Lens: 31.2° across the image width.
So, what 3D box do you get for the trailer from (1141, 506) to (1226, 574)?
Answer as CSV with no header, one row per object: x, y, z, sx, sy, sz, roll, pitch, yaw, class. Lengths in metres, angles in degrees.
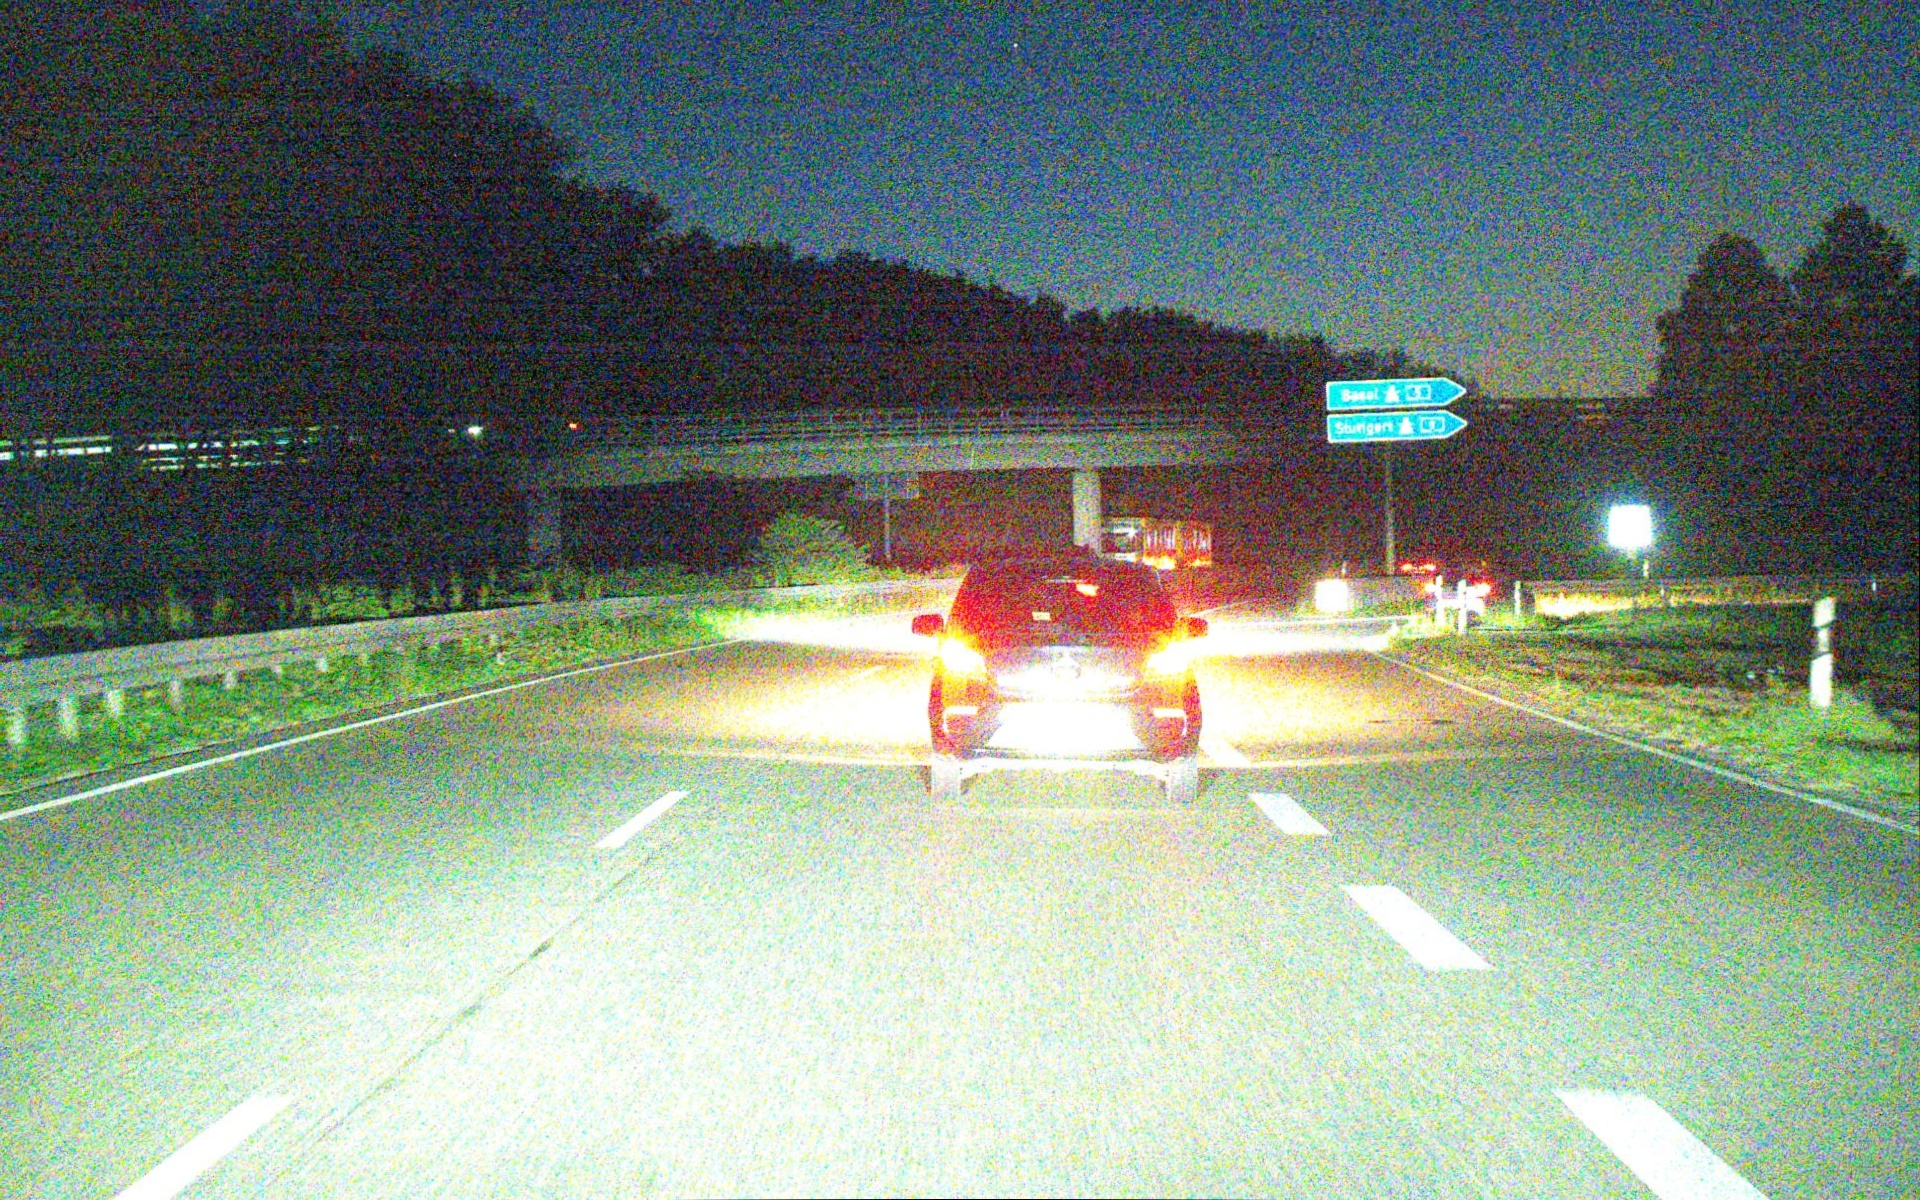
13.264,-3.554,203.494,2.720,3.943,9.039,-1,1,19,trailer

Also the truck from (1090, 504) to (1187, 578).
10.149,-3.349,194.127,2.683,4.030,10.644,-1,1,18,truck

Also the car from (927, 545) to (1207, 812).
0.598,0.421,21.812,1.588,1.503,4.000,1,1,-1,car

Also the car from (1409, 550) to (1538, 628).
12.421,-0.290,82.999,1.934,1.809,4.259,0,1,25,car

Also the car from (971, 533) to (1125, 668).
1.111,-0.029,45.174,1.906,1.692,4.000,0,1,0,car
